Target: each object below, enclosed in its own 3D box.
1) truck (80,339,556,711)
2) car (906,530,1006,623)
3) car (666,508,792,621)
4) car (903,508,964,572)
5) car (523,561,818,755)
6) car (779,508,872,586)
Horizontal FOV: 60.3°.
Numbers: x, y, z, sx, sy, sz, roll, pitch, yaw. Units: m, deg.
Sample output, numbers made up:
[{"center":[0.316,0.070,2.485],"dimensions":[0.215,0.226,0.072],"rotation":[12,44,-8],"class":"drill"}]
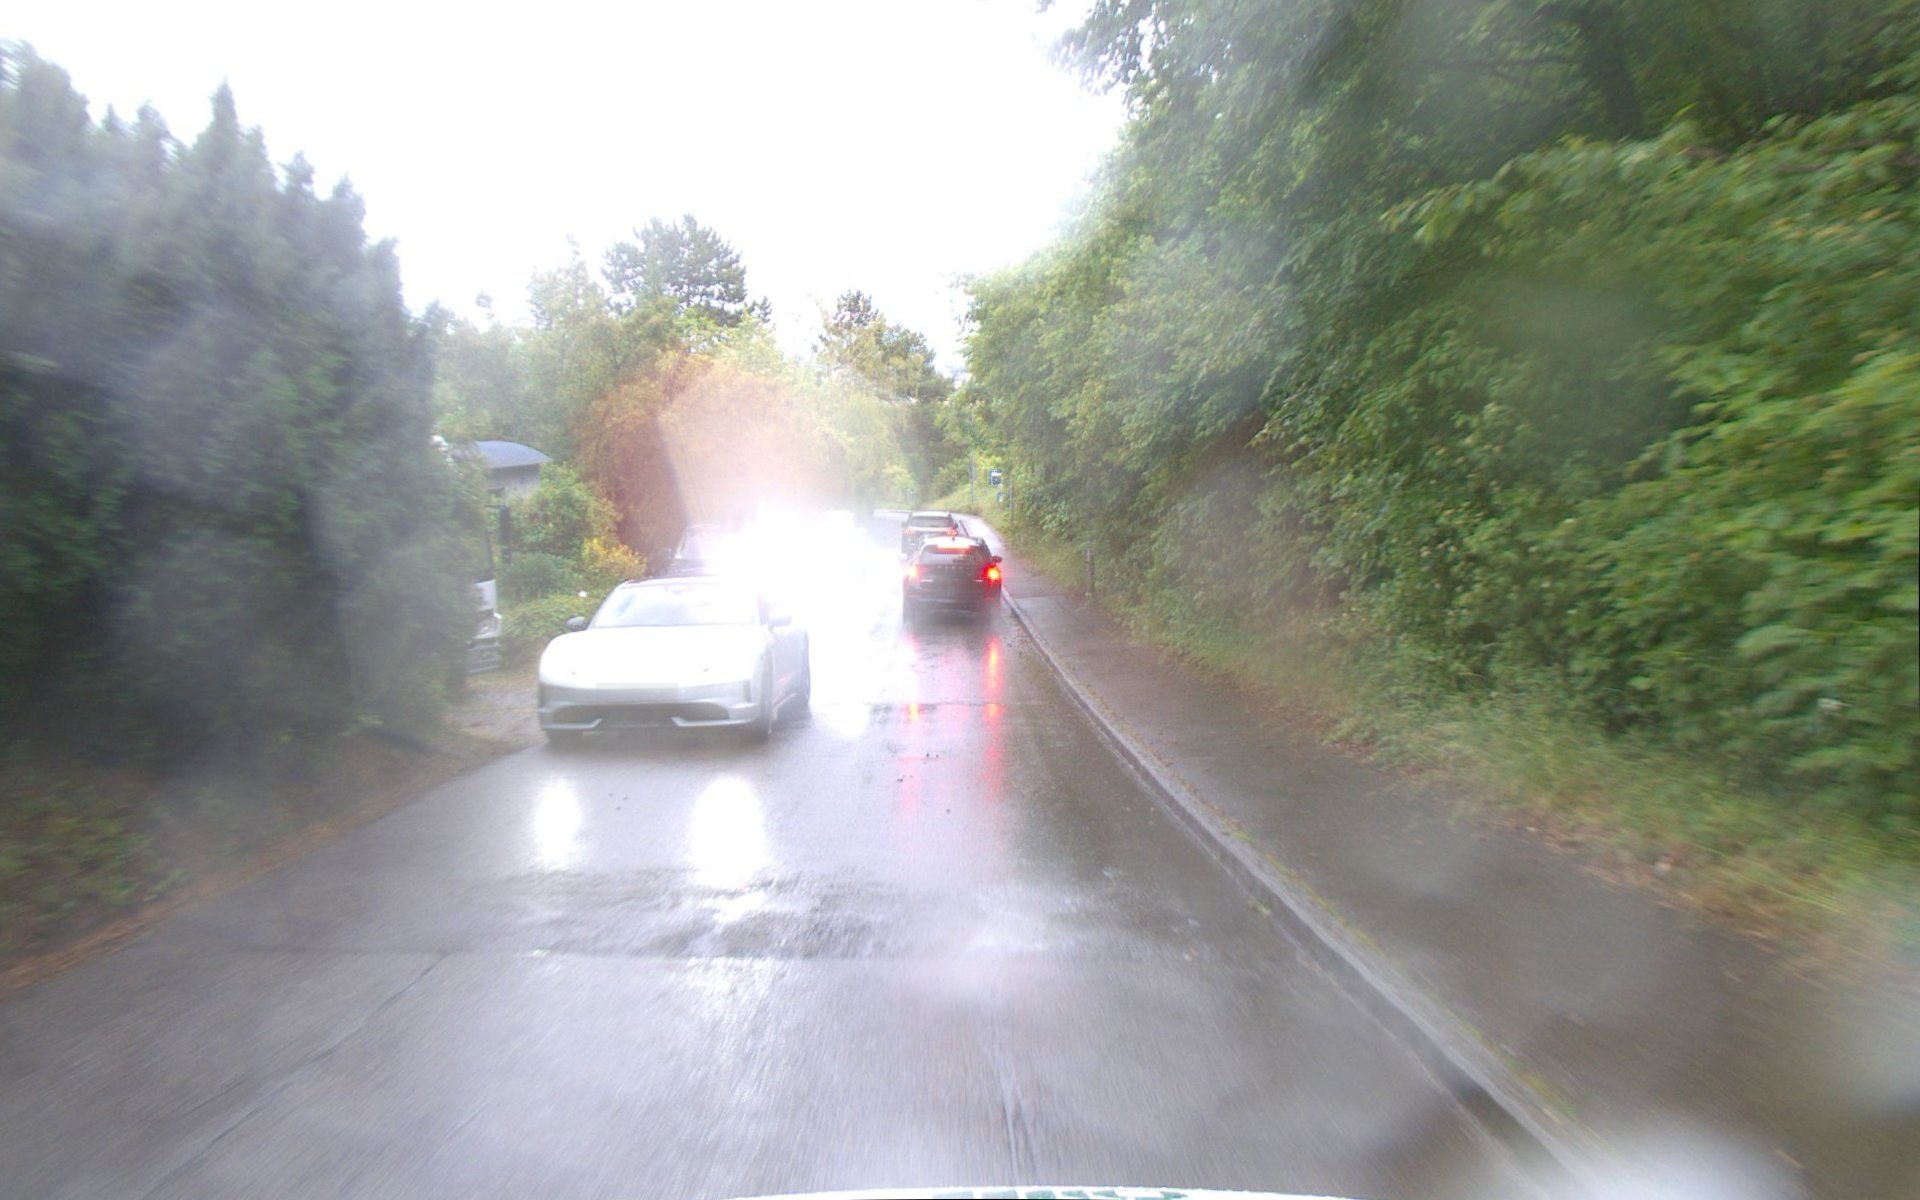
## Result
[{"center":[-8.451,-1.146,21.023],"dimensions":[2.654,3.874,8.004],"rotation":[0,5,-44],"class":"truck"},{"center":[-0.081,-0.482,29.979],"dimensions":[1.665,1.475,4.001],"rotation":[-1,3,0],"class":"car"},{"center":[-4.080,-0.709,29.788],"dimensions":[1.655,1.813,4.234],"rotation":[-1,4,0],"class":"car"},{"center":[-0.855,-1.837,51.367],"dimensions":[1.825,1.774,3.998],"rotation":[0,-1,-2],"class":"car"},{"center":[-2.521,0.500,15.571],"dimensions":[1.901,1.549,4.579],"rotation":[0,-1,1],"class":"car"},{"center":[-3.173,-1.327,39.830],"dimensions":[2.007,1.628,4.230],"rotation":[1,4,-2],"class":"car"}]
